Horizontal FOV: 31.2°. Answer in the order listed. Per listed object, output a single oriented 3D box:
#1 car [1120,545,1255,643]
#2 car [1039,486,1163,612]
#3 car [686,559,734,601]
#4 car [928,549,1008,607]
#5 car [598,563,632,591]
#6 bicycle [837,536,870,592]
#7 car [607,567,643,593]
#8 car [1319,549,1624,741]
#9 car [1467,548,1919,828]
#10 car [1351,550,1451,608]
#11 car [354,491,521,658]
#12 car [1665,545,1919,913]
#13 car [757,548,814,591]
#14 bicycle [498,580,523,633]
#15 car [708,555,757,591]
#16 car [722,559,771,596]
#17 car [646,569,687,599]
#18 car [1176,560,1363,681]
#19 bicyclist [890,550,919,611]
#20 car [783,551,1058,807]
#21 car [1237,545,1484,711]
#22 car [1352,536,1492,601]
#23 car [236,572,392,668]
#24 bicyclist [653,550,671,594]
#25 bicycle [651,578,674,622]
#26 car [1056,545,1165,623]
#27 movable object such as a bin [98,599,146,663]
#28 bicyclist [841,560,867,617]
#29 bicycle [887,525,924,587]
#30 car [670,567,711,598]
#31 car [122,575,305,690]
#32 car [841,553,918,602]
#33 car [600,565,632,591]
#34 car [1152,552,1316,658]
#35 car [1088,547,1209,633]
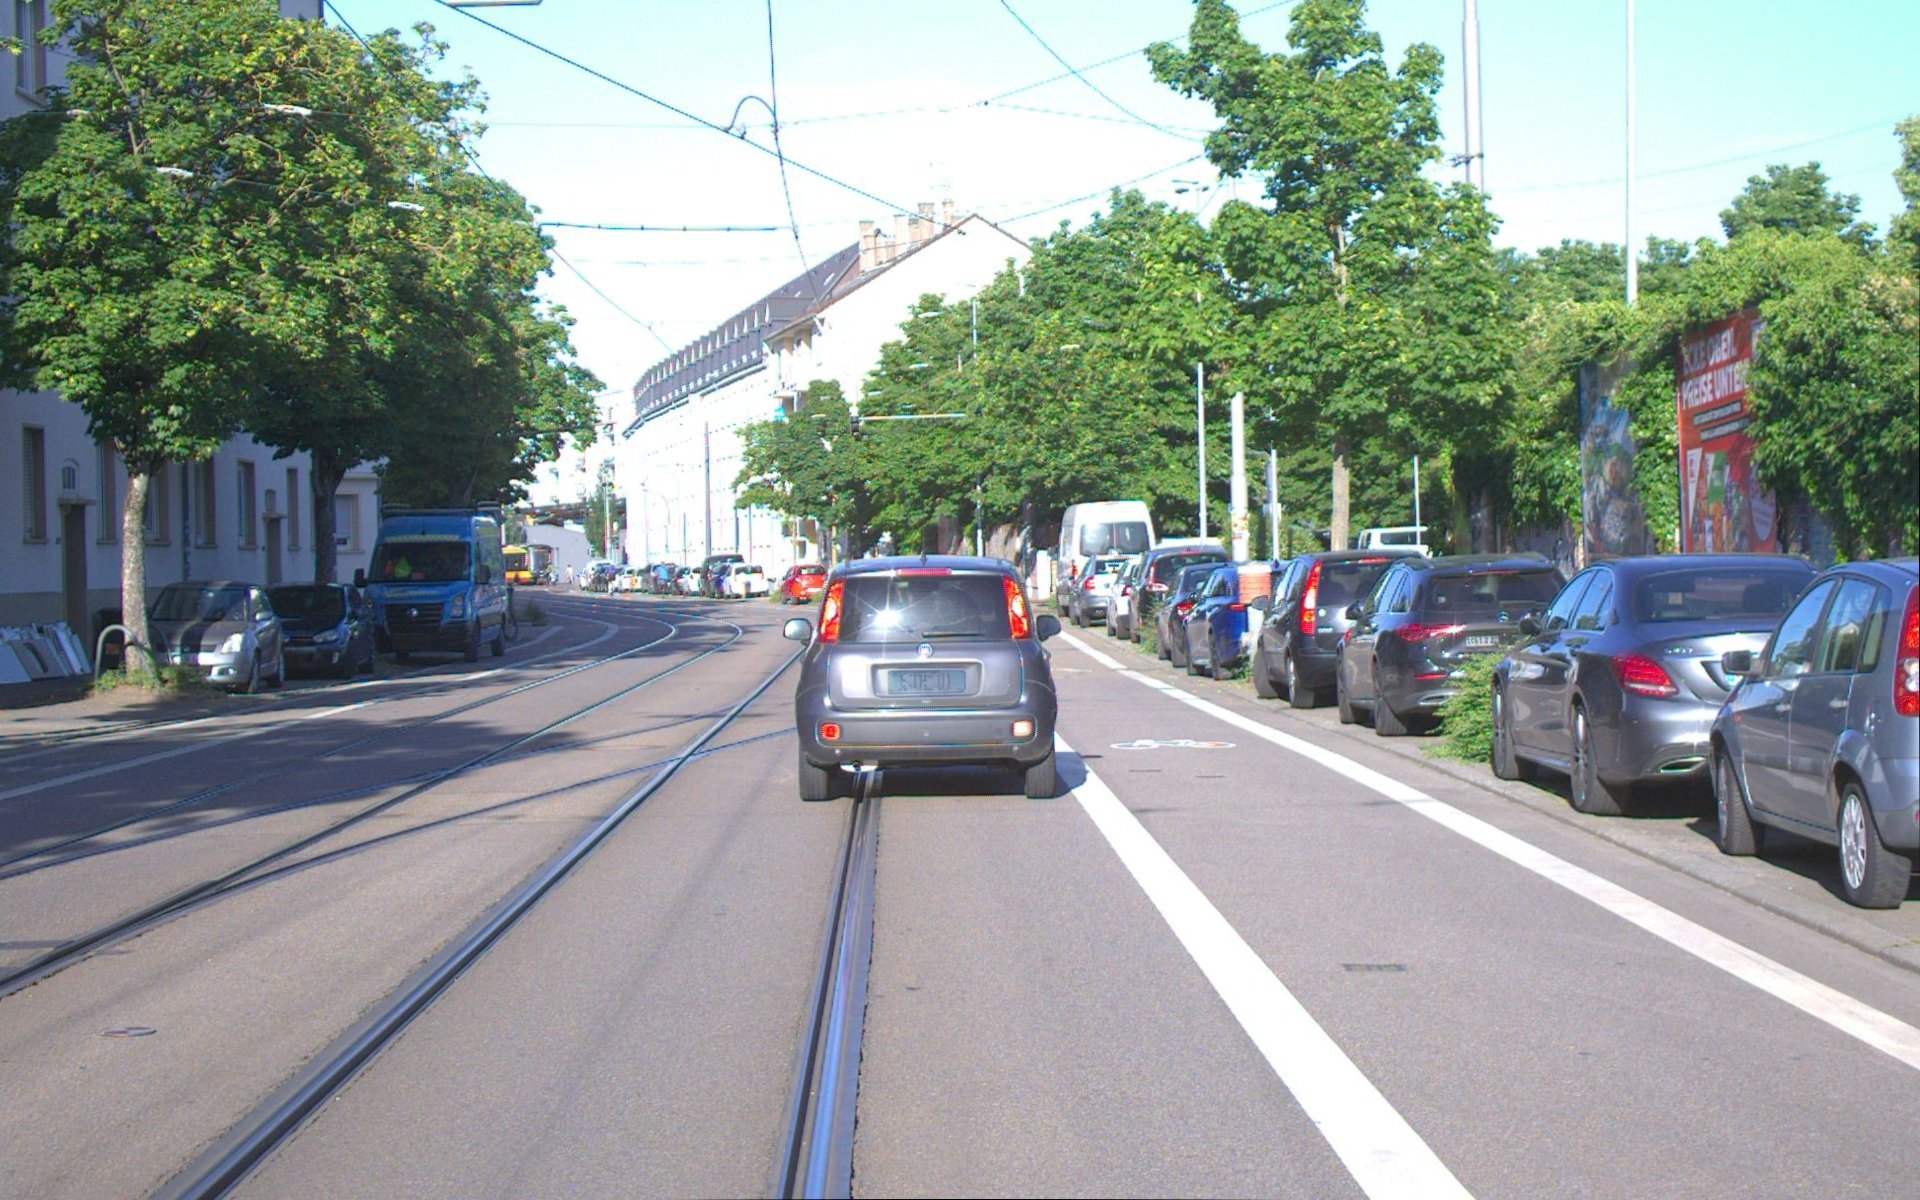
[{"bbox_3d":[3.807,-0.116,58.212,1.727,1.599,4.343,0,0,-4],"label":"car"},{"bbox_3d":[3.179,-1.153,78.874,2.180,2.656,6.091,-3,1,-2],"label":"car"},{"bbox_3d":[-11.690,-0.926,160.778,1.655,1.937,4.666,0,0,-11],"label":"car"},{"bbox_3d":[0.196,-0.632,97.901,1.688,1.525,4.001,-3,1,-8],"label":"car"},{"bbox_3d":[-19.620,-1.307,195.344,1.582,1.593,3.377,0,0,-12],"label":"car"},{"bbox_3d":[-3.327,-1.116,107.337,0.675,1.741,2.158,0,0,-12],"label":"bicycle"},{"bbox_3d":[-18.500,-1.109,189.800,1.582,1.400,3.377,0,0,-12],"label":"car"},{"bbox_3d":[4.225,0.329,29.086,1.824,1.447,4.642,-1,0,0],"label":"car"},{"bbox_3d":[4.285,0.449,20.571,1.824,1.479,4.601,0,0,0],"label":"car"},{"bbox_3d":[7.948,-0.380,62.074,1.309,1.030,3.057,0,0,-2],"label":"car"},{"bbox_3d":[-9.229,-0.455,61.185,2.017,2.816,6.032,0,0,0],"label":"car"},{"bbox_3d":[4.547,0.498,15.737,1.873,1.467,4.075,0,0,1],"label":"car"},{"bbox_3d":[-6.565,-1.152,129.253,1.635,1.503,3.398,-4,1,-10],"label":"car"},{"bbox_3d":[-9.717,0.138,74.314,0.512,1.130,2.032,0,0,-8],"label":"bicycle"},{"bbox_3d":[-10.075,-1.186,151.823,1.655,1.566,3.877,0,0,-11],"label":"car"},{"bbox_3d":[-9.178,-0.973,147.551,1.655,1.566,3.500,0,0,-11],"label":"car"},{"bbox_3d":[-14.992,-0.834,175.574,1.582,1.400,3.377,-5,1,-12],"label":"car"},{"bbox_3d":[3.889,0.225,43.790,1.727,1.459,4.342,0,0,-4],"label":"car"},{"bbox_3d":[-1.595,-0.559,98.250,0.699,1.753,0.758,0,0,-12],"label":"bicyclist"},{"bbox_3d":[-0.277,0.451,22.772,1.650,1.536,4.235,0,1,-1],"label":"car"},{"bbox_3d":[4.005,0.255,34.978,1.824,1.487,3.815,-3,1,-3],"label":"car"},{"bbox_3d":[15.626,-1.068,116.365,4.279,2.007,1.774,-3,1,-6],"label":"car"},{"bbox_3d":[-9.961,0.286,53.251,1.651,1.420,4.190,0,0,-1],"label":"car"},{"bbox_3d":[-13.656,-1.302,157.525,0.715,2.007,0.832,0,0,-12],"label":"bicyclist"},{"bbox_3d":[-13.641,-0.004,157.499,0.741,2.007,2.812,0,0,-12],"label":"bicycle"},{"bbox_3d":[3.120,-0.340,72.122,1.910,1.524,4.601,-2,1,-2],"label":"car"},{"bbox_3d":[-12.724,0.470,52.209,0.596,0.931,0.569,-2,1,-3],"label":"movable object such as a bin"},{"bbox_3d":[-3.313,-0.361,107.262,0.699,1.753,0.758,0,0,-12],"label":"bicyclist"},{"bbox_3d":[-1.561,-1.251,98.132,0.675,1.741,2.158,0,0,-12],"label":"bicycle"},{"bbox_3d":[-13.125,-0.852,167.352,1.655,1.495,3.130,0,0,-11],"label":"car"},{"bbox_3d":[-10.136,0.411,46.931,1.651,1.486,4.000,0,0,-1],"label":"car"},{"bbox_3d":[-2.705,-0.744,114.348,1.688,1.525,4.001,-3,1,-13],"label":"car"},{"bbox_3d":[-20.813,-1.328,207.934,1.582,1.593,3.377,0,0,-12],"label":"car"},{"bbox_3d":[3.899,0.052,49.530,1.727,1.459,4.499,0,0,-4],"label":"car"},{"bbox_3d":[3.415,-0.197,62.987,1.727,1.507,4.252,0,0,-4],"label":"car"}]
